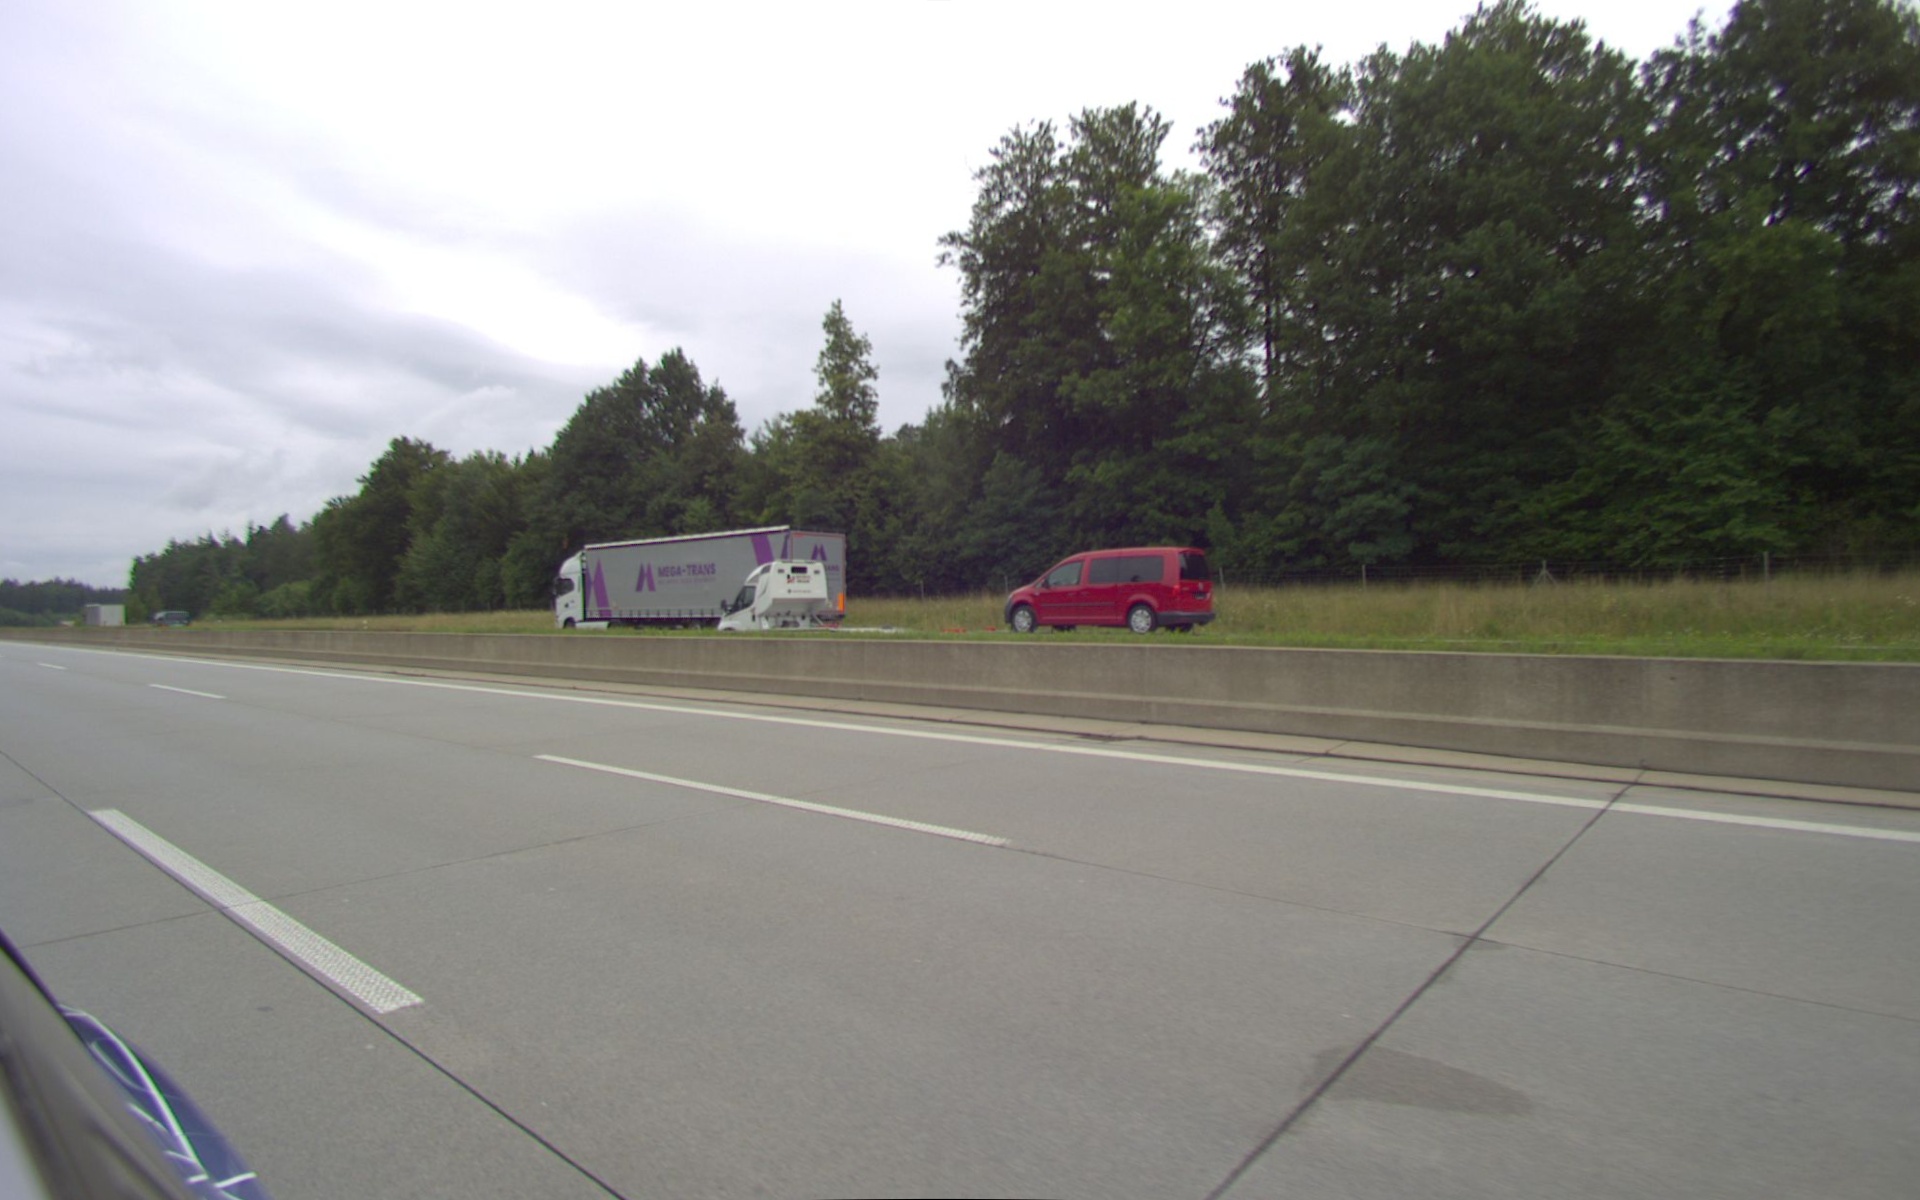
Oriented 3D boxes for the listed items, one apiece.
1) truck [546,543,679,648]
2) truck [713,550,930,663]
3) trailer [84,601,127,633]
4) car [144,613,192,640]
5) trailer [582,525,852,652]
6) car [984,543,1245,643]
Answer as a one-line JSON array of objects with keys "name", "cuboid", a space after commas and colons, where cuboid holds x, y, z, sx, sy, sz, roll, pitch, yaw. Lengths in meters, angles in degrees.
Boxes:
[{"name": "truck", "cuboid": [-14.917, -0.136, 43.237, 6.459, 4.157, 2.482, -1, 0, 42]}, {"name": "truck", "cuboid": [-3.988, 0.205, 28.100, 6.509, 2.809, 2.244, -1, 0, 42]}, {"name": "trailer", "cuboid": [-115.193, 2.383, 136.312, 13.988, 4.050, 2.780, -2, -1, 43]}, {"name": "car", "cuboid": [-61.698, 2.062, 78.812, 5.425, 2.029, 2.040, -1, 0, 42]}, {"name": "trailer", "cuboid": [-9.787, -0.261, 38.642, 13.970, 4.134, 2.471, -1, 0, 42]}, {"name": "car", "cuboid": [3.151, -0.094, 21.591, 5.313, 1.896, 1.972, -1, 0, 43]}]
